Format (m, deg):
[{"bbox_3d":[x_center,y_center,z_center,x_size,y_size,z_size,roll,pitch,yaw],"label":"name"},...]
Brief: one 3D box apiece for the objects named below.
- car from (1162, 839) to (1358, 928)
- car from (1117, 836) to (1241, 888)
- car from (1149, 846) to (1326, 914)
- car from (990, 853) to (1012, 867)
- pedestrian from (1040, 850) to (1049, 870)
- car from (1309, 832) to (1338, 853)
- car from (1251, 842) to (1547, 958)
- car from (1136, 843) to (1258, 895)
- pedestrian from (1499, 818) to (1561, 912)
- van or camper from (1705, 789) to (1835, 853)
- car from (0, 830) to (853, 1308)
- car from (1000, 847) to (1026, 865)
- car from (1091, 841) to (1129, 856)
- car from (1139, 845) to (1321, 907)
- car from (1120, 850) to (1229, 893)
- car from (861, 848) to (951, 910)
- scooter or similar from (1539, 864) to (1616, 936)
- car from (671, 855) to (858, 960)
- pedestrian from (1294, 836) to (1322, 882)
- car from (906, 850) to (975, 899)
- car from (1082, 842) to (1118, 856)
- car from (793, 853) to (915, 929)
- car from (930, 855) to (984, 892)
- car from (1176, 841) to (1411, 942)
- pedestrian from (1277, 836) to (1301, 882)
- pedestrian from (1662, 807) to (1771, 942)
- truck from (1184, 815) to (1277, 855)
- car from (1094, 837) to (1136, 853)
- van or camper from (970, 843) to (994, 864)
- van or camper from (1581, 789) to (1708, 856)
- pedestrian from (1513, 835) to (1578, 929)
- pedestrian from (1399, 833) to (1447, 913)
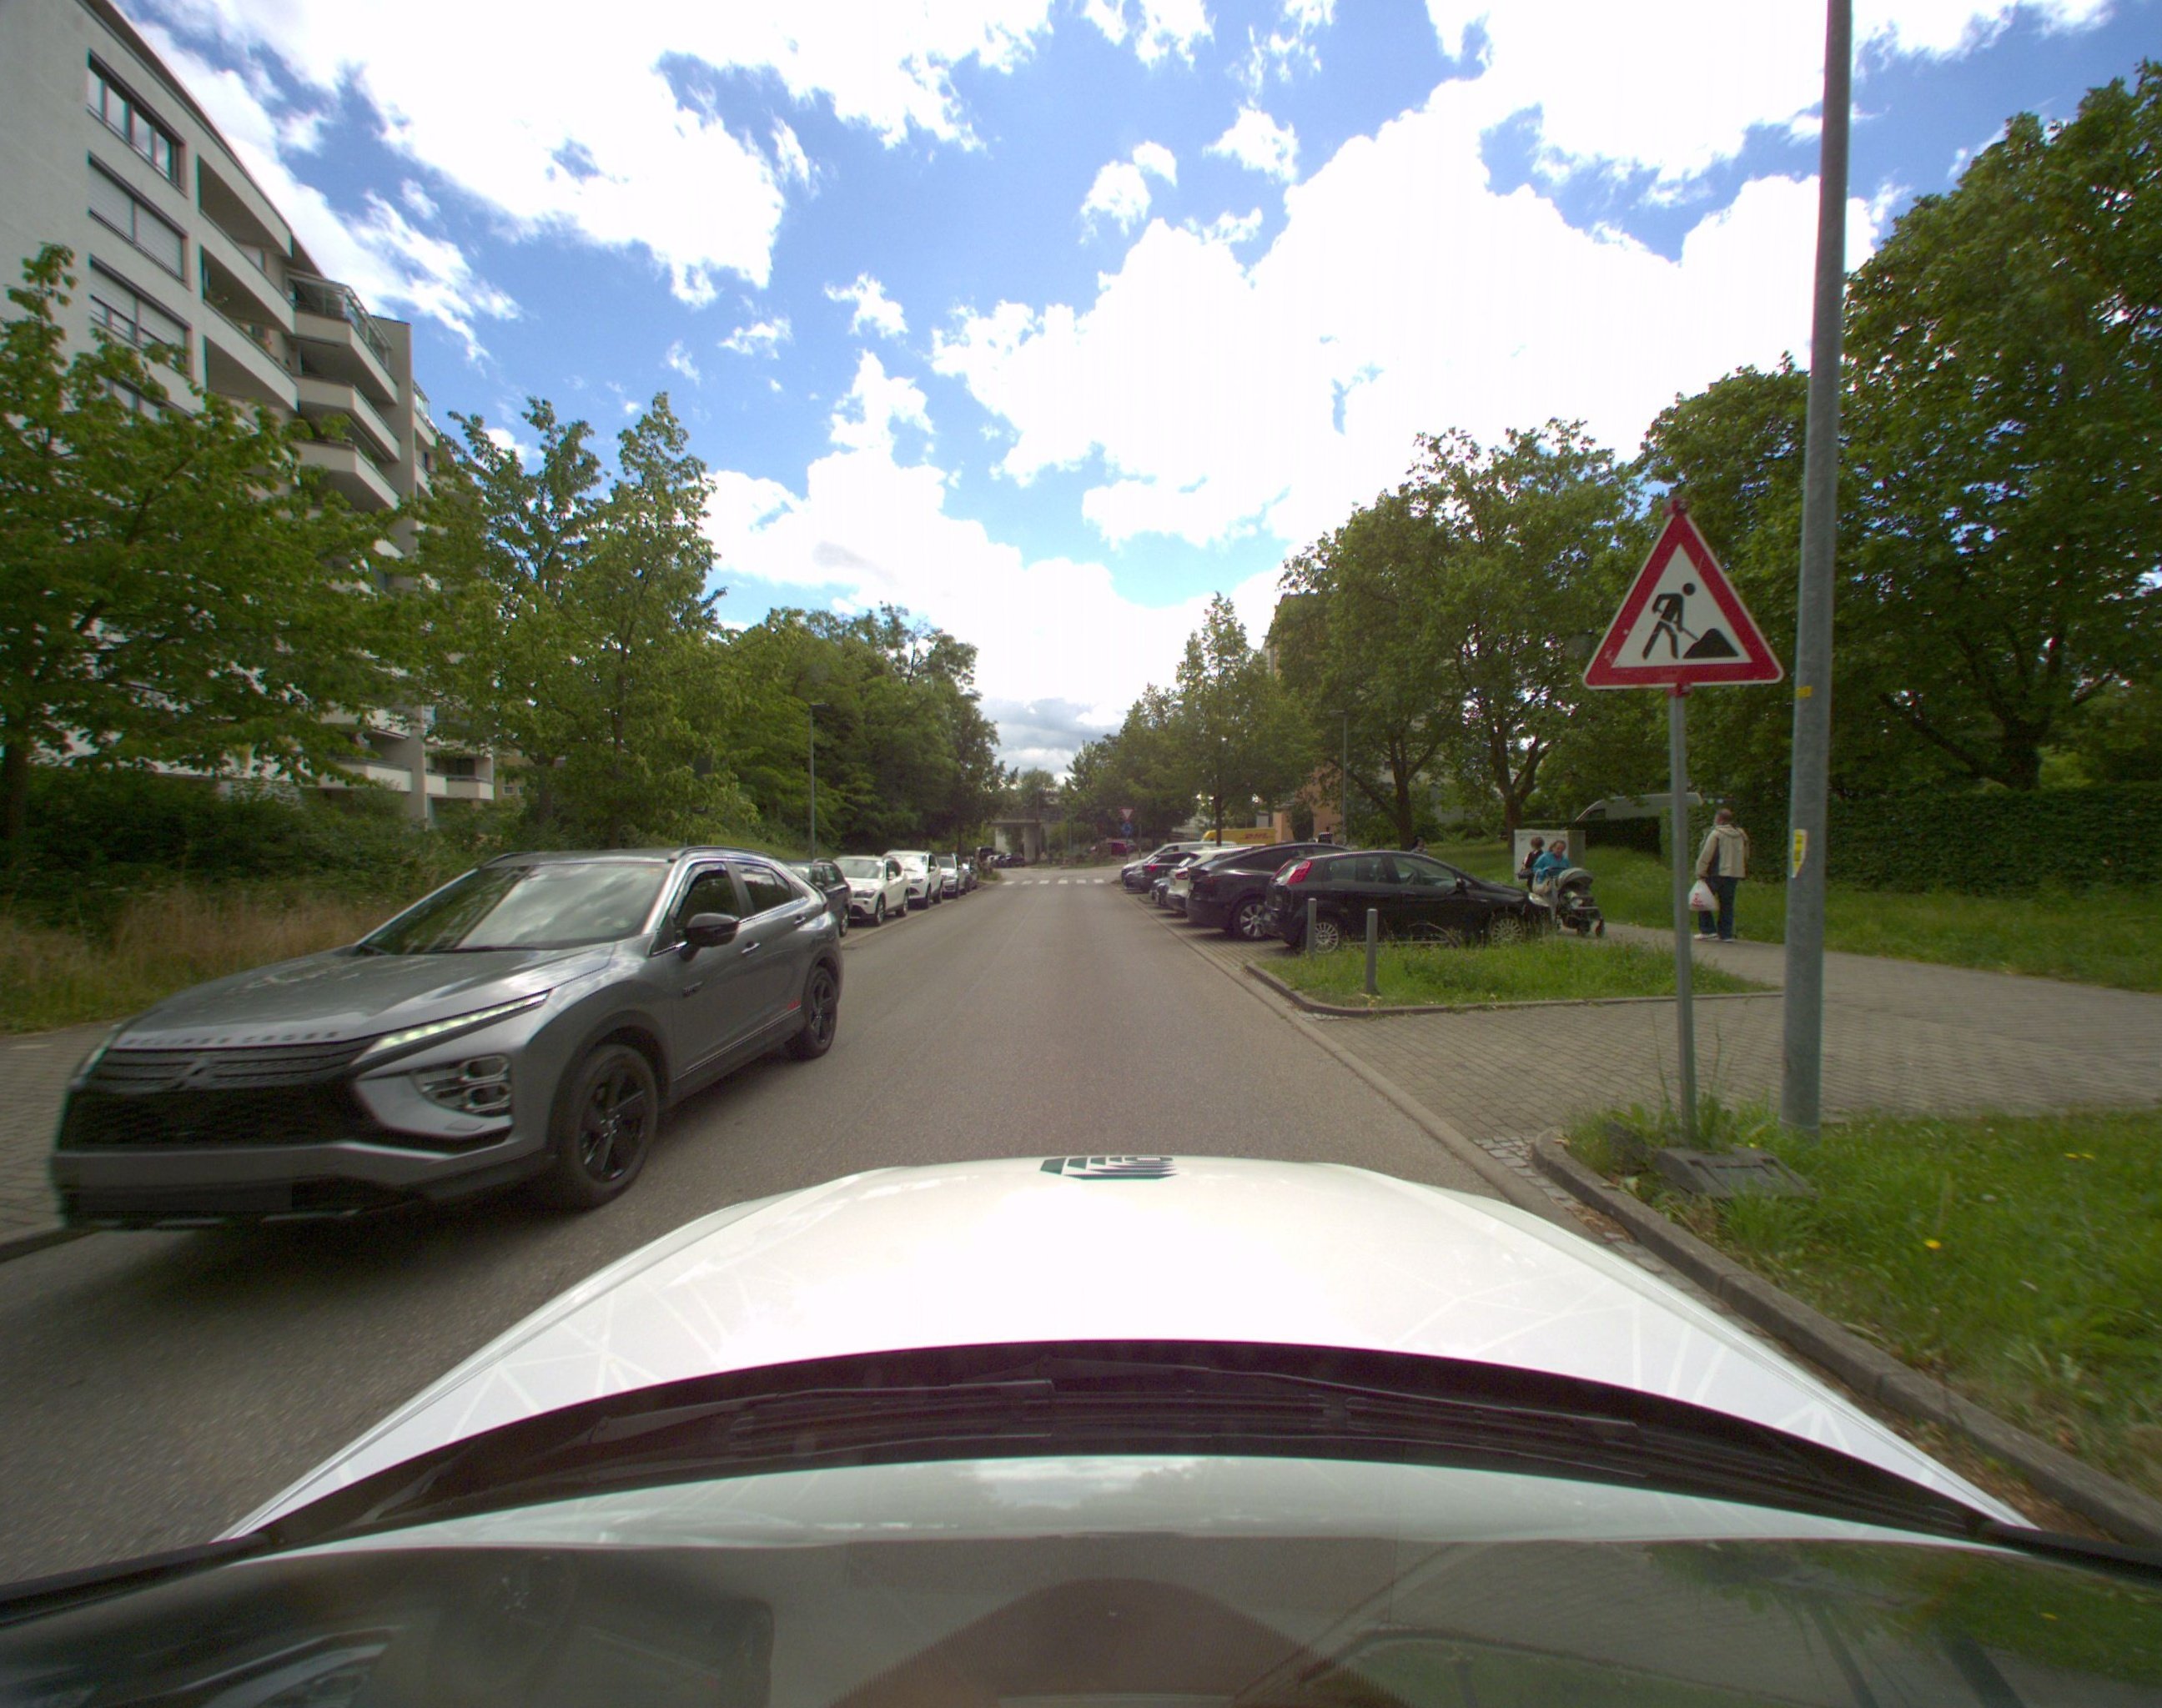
[{"bbox_3d":[3.573,0.570,16.796,3.657,1.647,1.852,-1,0,1],"label":"car"},{"bbox_3d":[3.955,0.306,33.329,4.764,1.831,1.840,-3,0,-4],"label":"car"},{"bbox_3d":[3.666,0.610,19.567,3.967,1.519,1.887,-1,0,6],"label":"car"},{"bbox_3d":[-9.449,0.746,95.423,1.704,1.496,4.093,-2,0,-18],"label":"car"},{"bbox_3d":[-3.200,0.501,71.728,0.654,1.721,0.741,0,0,8],"label":"pedestrian"},{"bbox_3d":[20.119,-0.933,67.648,1.560,1.658,3.784,-3,0,6],"label":"car"},{"bbox_3d":[4.460,0.615,11.813,3.657,1.498,1.646,-1,0,1],"label":"car"},{"bbox_3d":[3.937,0.492,28.070,3.817,1.520,1.909,-3,0,-5],"label":"car"},{"bbox_3d":[8.819,0.211,16.035,0.737,1.792,0.878,0,0,0],"label":"pedestrian"},{"bbox_3d":[31.532,-1.449,37.467,4.422,2.798,2.129,0,1,36],"label":"van or camper"},{"bbox_3d":[-3.000,0.753,4.895,1.889,1.582,4.169,-2,0,2],"label":"car"},{"bbox_3d":[-7.430,0.265,89.197,1.819,1.678,4.341,-2,-3,-19],"label":"car"},{"bbox_3d":[2.881,-0.519,80.156,3.633,1.439,1.687,0,0,4],"label":"car"},{"bbox_3d":[4.037,0.581,22.473,4.568,1.492,1.948,-2,0,-6],"label":"car"},{"bbox_3d":[3.453,0.618,30.532,3.814,1.371,1.841,-3,0,-2],"label":"car"},{"bbox_3d":[-5.277,0.697,25.146,1.801,1.664,4.436,2,1,0],"label":"car"},{"bbox_3d":[7.452,0.668,12.254,0.578,1.023,0.944,0,0,0],"label":"scooter or similar"},{"bbox_3d":[-5.346,0.816,14.353,1.684,1.487,3.953,2,1,0],"label":"car"},{"bbox_3d":[8.351,0.172,29.946,0.867,1.657,0.592,0,0,-2],"label":"pedestrian"},{"bbox_3d":[-5.232,0.718,30.937,1.793,1.615,4.477,2,1,0],"label":"car"},{"bbox_3d":[1.989,-0.529,85.434,3.633,1.498,1.687,0,0,4],"label":"car"},{"bbox_3d":[-5.273,0.794,19.492,1.684,1.511,4.229,2,1,0],"label":"car"},{"bbox_3d":[-5.457,0.807,36.375,1.684,1.465,4.455,2,0,0],"label":"car"},{"bbox_3d":[3.547,0.600,14.069,3.657,1.574,1.594,-1,1,1],"label":"car"},{"bbox_3d":[7.630,0.180,29.897,0.687,1.657,0.599,0,0,-2],"label":"pedestrian"},{"bbox_3d":[8.750,0.266,11.250,0.828,1.792,0.878,0,0,0],"label":"pedestrian"},{"bbox_3d":[11.567,-1.427,63.287,6.778,2.704,2.473,1,-5,0],"label":"truck"},{"bbox_3d":[3.777,-0.997,90.232,4.525,1.668,1.946,0,0,2],"label":"car"},{"bbox_3d":[-12.989,-0.028,106.166,1.999,2.523,5.438,-3,0,-17],"label":"van or camper"},{"bbox_3d":[24.778,-1.334,36.020,4.423,2.798,2.128,0,0,29],"label":"van or camper"},{"bbox_3d":[7.456,0.436,13.096,0.616,1.468,0.736,0,0,0],"label":"pedestrian"},{"bbox_3d":[7.879,0.421,18.803,0.737,1.792,0.878,0,0,0],"label":"pedestrian"}]
